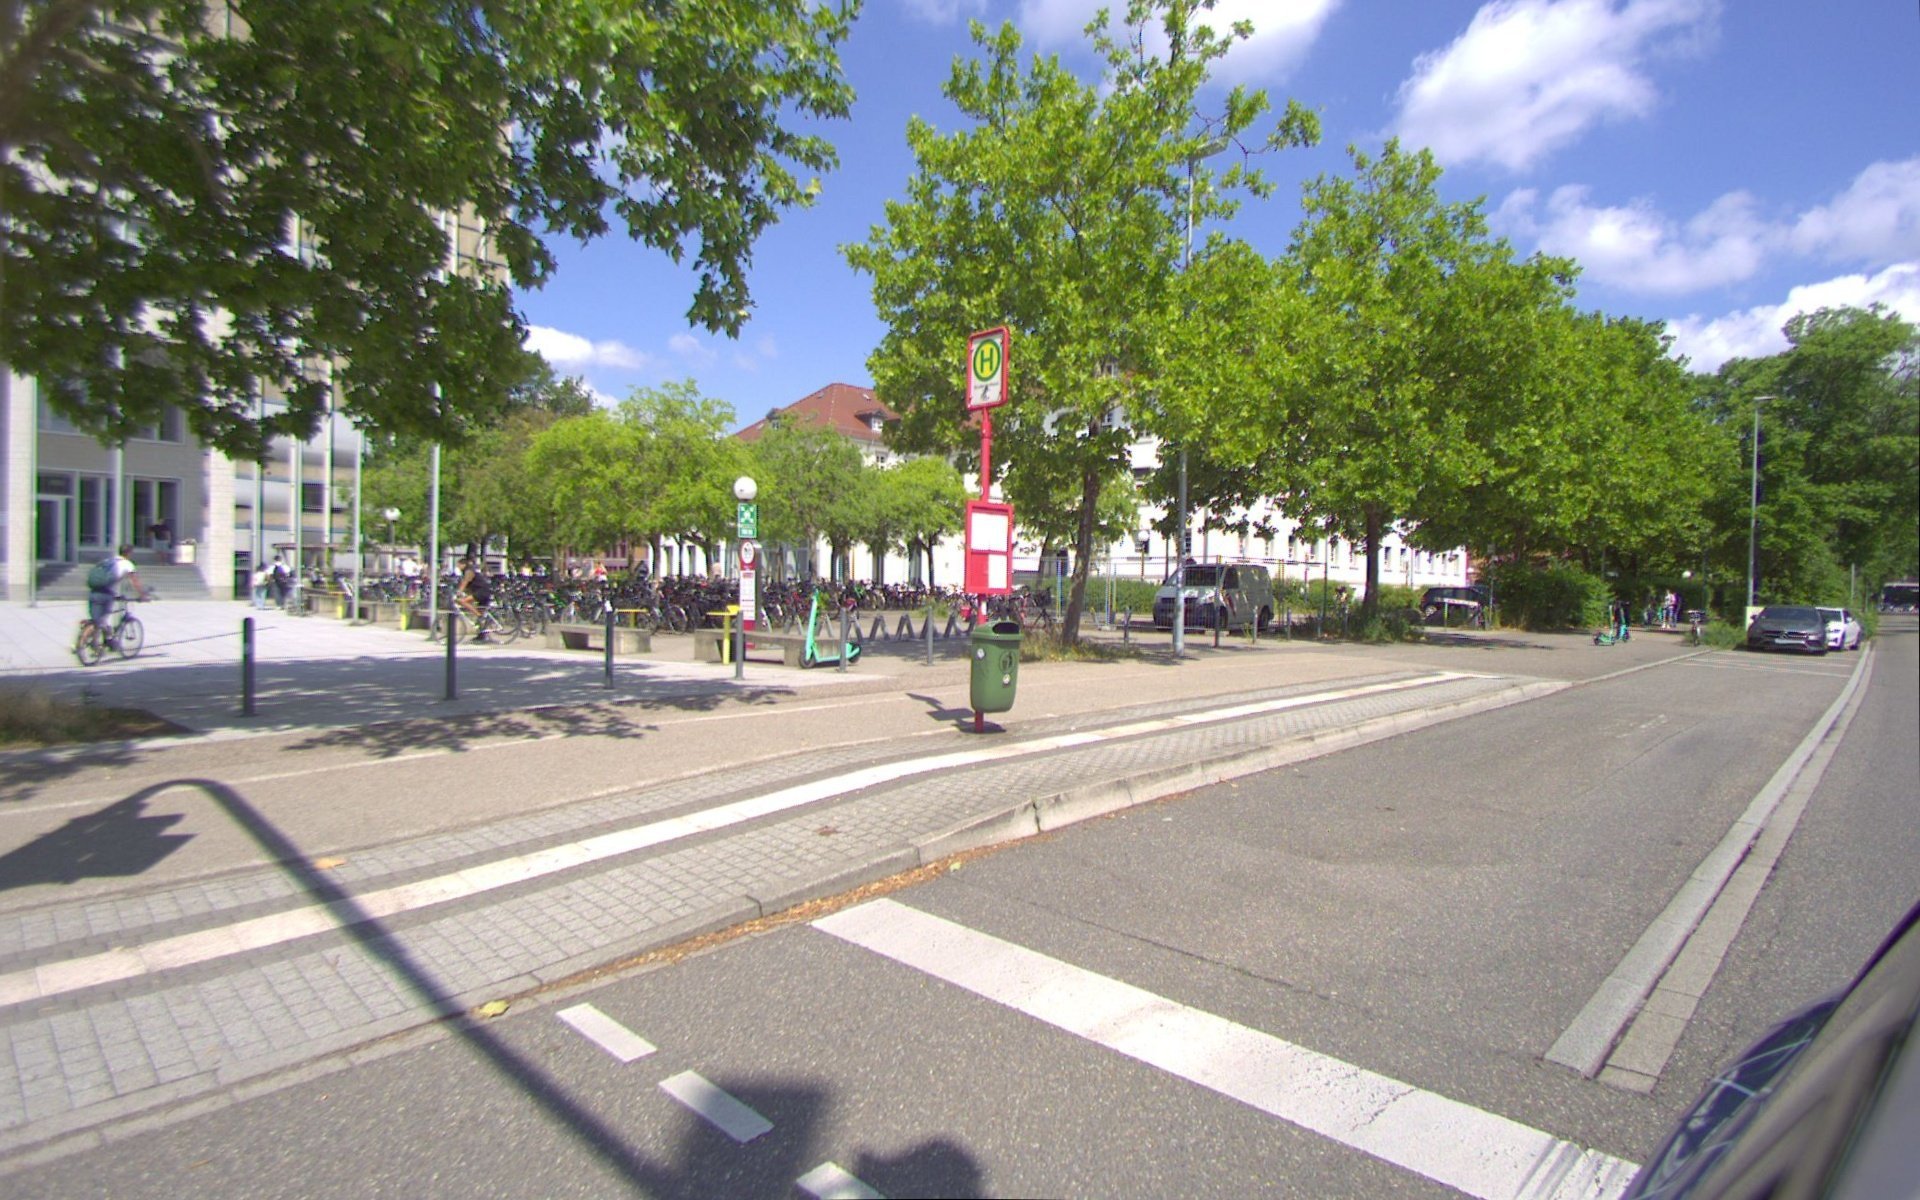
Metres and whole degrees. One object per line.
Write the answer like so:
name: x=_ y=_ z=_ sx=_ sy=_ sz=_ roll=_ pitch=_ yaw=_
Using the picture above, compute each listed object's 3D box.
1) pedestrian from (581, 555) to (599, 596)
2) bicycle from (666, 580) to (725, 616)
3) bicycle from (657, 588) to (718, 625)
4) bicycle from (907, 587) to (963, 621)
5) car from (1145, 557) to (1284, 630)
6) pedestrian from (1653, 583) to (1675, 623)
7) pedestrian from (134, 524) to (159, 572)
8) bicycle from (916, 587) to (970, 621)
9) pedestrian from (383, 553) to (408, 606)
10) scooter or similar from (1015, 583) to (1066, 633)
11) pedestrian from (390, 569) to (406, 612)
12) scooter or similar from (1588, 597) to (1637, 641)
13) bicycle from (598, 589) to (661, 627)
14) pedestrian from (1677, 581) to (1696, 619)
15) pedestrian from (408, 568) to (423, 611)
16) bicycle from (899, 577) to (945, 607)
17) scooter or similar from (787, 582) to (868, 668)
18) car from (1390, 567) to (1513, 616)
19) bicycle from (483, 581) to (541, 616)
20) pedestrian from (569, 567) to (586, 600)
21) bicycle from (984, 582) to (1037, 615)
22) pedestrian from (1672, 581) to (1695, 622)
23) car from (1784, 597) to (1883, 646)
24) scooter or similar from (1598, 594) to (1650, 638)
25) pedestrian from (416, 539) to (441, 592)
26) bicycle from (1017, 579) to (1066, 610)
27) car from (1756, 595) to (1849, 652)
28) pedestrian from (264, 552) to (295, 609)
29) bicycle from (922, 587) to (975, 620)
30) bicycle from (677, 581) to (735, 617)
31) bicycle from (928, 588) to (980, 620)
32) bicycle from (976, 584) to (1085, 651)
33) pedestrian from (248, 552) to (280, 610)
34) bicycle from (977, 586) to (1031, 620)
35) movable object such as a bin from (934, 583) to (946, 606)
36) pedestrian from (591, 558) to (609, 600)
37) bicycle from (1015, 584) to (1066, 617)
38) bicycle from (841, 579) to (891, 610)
pedestrian: x=-20.408 y=-1.330 z=55.774 sx=0.624 sy=2.258 sz=0.714 roll=-1 pitch=-1 yaw=13
bicycle: x=-8.367 y=-0.051 z=32.044 sx=1.740 sy=1.113 sz=0.601 roll=-1 pitch=-1 yaw=13
bicycle: x=-8.451 y=0.195 z=31.364 sx=1.740 sy=1.113 sz=0.601 roll=-1 pitch=-1 yaw=13
bicycle: x=-0.826 y=0.137 z=33.661 sx=1.741 sy=1.113 sz=0.601 roll=-1 pitch=-1 yaw=13
car: x=7.281 y=-0.199 z=28.589 sx=1.895 sy=1.888 sz=4.870 roll=0 pitch=0 yaw=40
pedestrian: x=31.836 y=0.132 z=45.769 sx=0.677 sy=1.803 sz=0.783 roll=-1 pitch=-1 yaw=27
pedestrian: x=-31.389 y=-1.993 z=39.049 sx=0.708 sy=1.821 sz=0.714 roll=0 pitch=-1 yaw=-44
bicycle: x=-0.591 y=0.135 z=34.480 sx=1.741 sy=1.113 sz=0.601 roll=-1 pitch=-1 yaw=13
pedestrian: x=-24.340 y=-0.867 z=43.652 sx=0.705 sy=2.258 sz=0.632 roll=-1 pitch=-1 yaw=13
scooter or similar: x=2.023 y=0.199 z=25.503 sx=1.287 sy=1.248 sz=0.278 roll=0 pitch=1 yaw=30
pedestrian: x=-30.263 y=-0.507 z=54.508 sx=0.702 sy=2.258 sz=0.635 roll=0 pitch=-1 yaw=-28
scooter or similar: x=18.451 y=0.544 z=28.605 sx=1.544 sy=1.184 sz=0.530 roll=1 pitch=1 yaw=-33
bicycle: x=-9.878 y=0.242 z=30.249 sx=1.740 sy=1.113 sz=0.601 roll=-1 pitch=-1 yaw=13
pedestrian: x=34.072 y=0.002 z=47.450 sx=0.680 sy=1.803 sz=0.781 roll=-1 pitch=-1 yaw=36
pedestrian: x=-28.789 y=-0.530 z=53.494 sx=0.702 sy=2.258 sz=0.635 roll=0 pitch=-1 yaw=-28
bicycle: x=-1.496 y=-0.312 z=39.841 sx=1.740 sy=1.113 sz=0.601 roll=-1 pitch=-1 yaw=13
scooter or similar: x=-1.862 y=0.338 z=14.343 sx=0.352 sy=1.180 sz=1.174 roll=-1 pitch=-1 yaw=43
car: x=19.366 y=-0.298 z=39.950 sx=3.982 sy=1.805 sz=1.971 roll=-1 pitch=0 yaw=41
bicycle: x=-14.771 y=-0.041 z=33.399 sx=1.740 sy=1.113 sz=0.601 roll=-1 pitch=-1 yaw=13
pedestrian: x=-21.079 y=-0.910 z=55.775 sx=0.624 sy=1.800 sz=0.714 roll=-1 pitch=-1 yaw=13
bicycle: x=1.731 y=-0.054 z=34.768 sx=1.741 sy=1.113 sz=0.601 roll=-1 pitch=-1 yaw=13
pedestrian: x=32.440 y=0.079 z=45.366 sx=0.677 sy=1.803 sz=0.784 roll=-1 pitch=-1 yaw=25
car: x=29.594 y=0.701 z=34.236 sx=4.853 sy=1.468 sz=1.742 roll=1 pitch=2 yaw=-40
scooter or similar: x=19.950 y=0.474 z=30.423 sx=1.262 sy=1.262 sz=0.531 roll=2 pitch=1 yaw=-12
pedestrian: x=-22.922 y=-1.463 z=43.654 sx=0.848 sy=2.258 sz=0.627 roll=-1 pitch=-1 yaw=33
bicycle: x=2.980 y=-0.201 z=36.933 sx=1.740 sy=1.113 sz=0.601 roll=-1 pitch=-1 yaw=13
car: x=25.689 y=0.681 z=30.802 sx=1.857 sy=1.497 sz=4.864 roll=4 pitch=2 yaw=43
pedestrian: x=-21.354 y=-0.598 z=31.759 sx=0.621 sy=1.769 sz=0.718 roll=-1 pitch=-1 yaw=-18
bicycle: x=-0.408 y=0.120 z=35.176 sx=1.741 sy=1.113 sz=0.601 roll=-1 pitch=-1 yaw=13
bicycle: x=-8.202 y=-0.023 z=32.674 sx=1.740 sy=1.113 sz=0.601 roll=-1 pitch=-1 yaw=13
bicycle: x=-0.212 y=0.133 z=35.853 sx=1.741 sy=1.113 sz=0.601 roll=-1 pitch=-1 yaw=13
bicycle: x=1.331 y=0.300 z=18.936 sx=1.993 sy=1.198 sz=0.799 roll=0 pitch=0 yaw=-36
pedestrian: x=-21.708 y=-0.594 z=31.569 sx=0.621 sy=1.769 sz=0.718 roll=-1 pitch=-1 yaw=-18
bicycle: x=1.471 y=0.104 z=33.753 sx=1.741 sy=1.113 sz=0.601 roll=-1 pitch=-1 yaw=13
movable object such as a bin: x=-0.951 y=-0.267 z=47.595 sx=0.387 sy=1.068 sz=0.363 roll=2 pitch=1 yaw=39
pedestrian: x=-19.702 y=-1.135 z=55.447 sx=0.624 sy=2.258 sz=0.714 roll=-1 pitch=-1 yaw=13
bicycle: x=2.834 y=0.014 z=35.636 sx=1.740 sy=1.113 sz=0.601 roll=-1 pitch=-1 yaw=13
bicycle: x=-3.469 y=-0.199 z=37.456 sx=1.740 sy=1.113 sz=0.601 roll=-1 pitch=-1 yaw=13
